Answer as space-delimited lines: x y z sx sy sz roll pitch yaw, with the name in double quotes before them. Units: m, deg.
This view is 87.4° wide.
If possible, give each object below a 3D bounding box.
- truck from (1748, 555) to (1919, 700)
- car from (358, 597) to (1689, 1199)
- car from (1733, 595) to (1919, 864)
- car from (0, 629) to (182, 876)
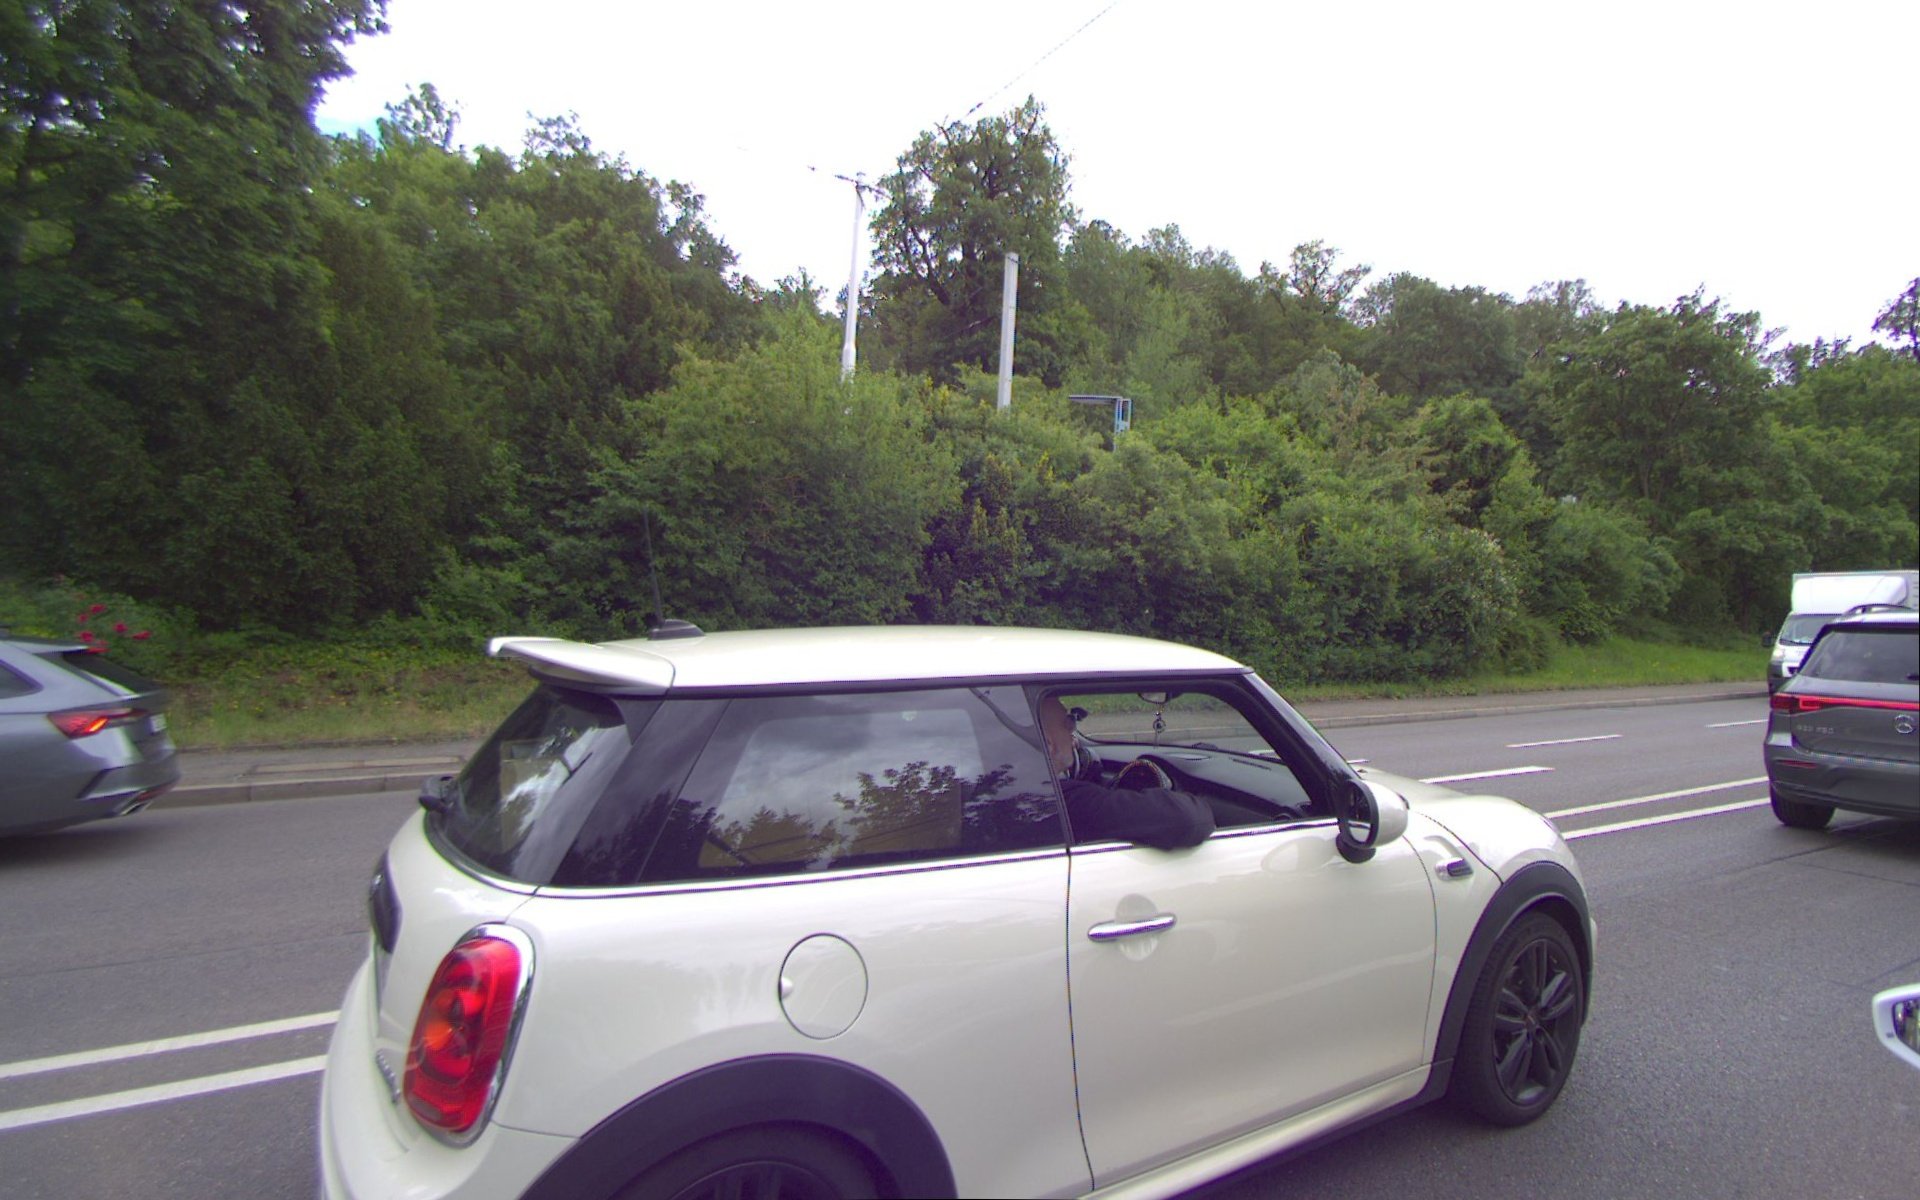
"truck" 21.801 0.714 24.213 6.903 3.091 2.280 2 -2 -33
"car" 0.368 0.762 3.003 3.691 1.443 1.675 2 -1 -32
"car" 7.779 0.857 7.472 4.309 1.673 1.839 2 -1 -32
"car" -7.261 0.859 5.669 4.310 1.413 1.671 2 -2 -31
